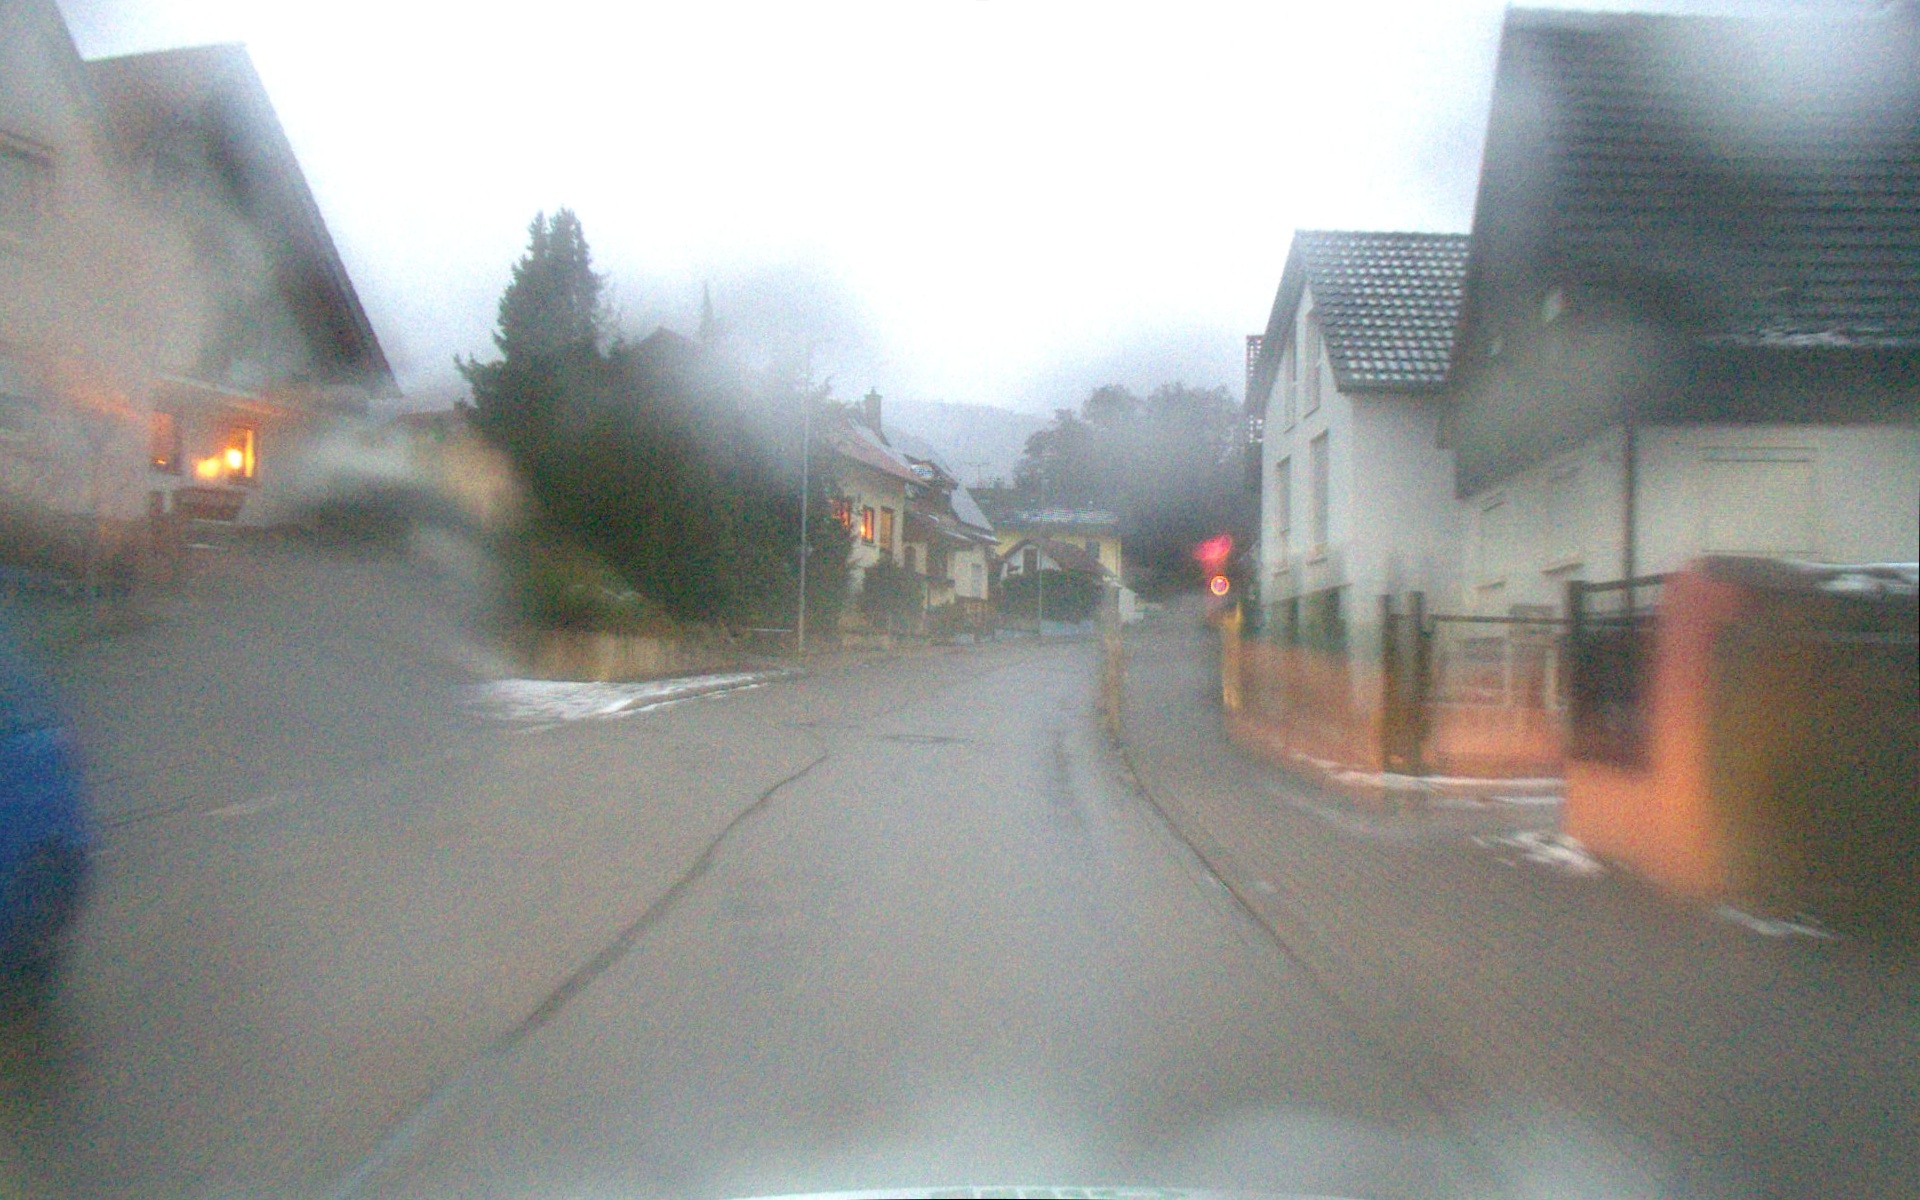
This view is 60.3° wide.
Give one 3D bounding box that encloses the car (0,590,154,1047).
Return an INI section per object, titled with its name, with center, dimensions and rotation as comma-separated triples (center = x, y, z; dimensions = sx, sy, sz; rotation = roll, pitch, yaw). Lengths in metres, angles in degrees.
[car]
center = -3.856, 0.698, 4.245
dimensions = 1.633, 1.434, 3.914
rotation = 1, 1, 0

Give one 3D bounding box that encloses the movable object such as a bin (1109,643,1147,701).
[movable object such as a bin]
center = 2.876, 1.225, 28.278
dimensions = 0.601, 0.963, 0.595
rotation = -3, -2, 6
